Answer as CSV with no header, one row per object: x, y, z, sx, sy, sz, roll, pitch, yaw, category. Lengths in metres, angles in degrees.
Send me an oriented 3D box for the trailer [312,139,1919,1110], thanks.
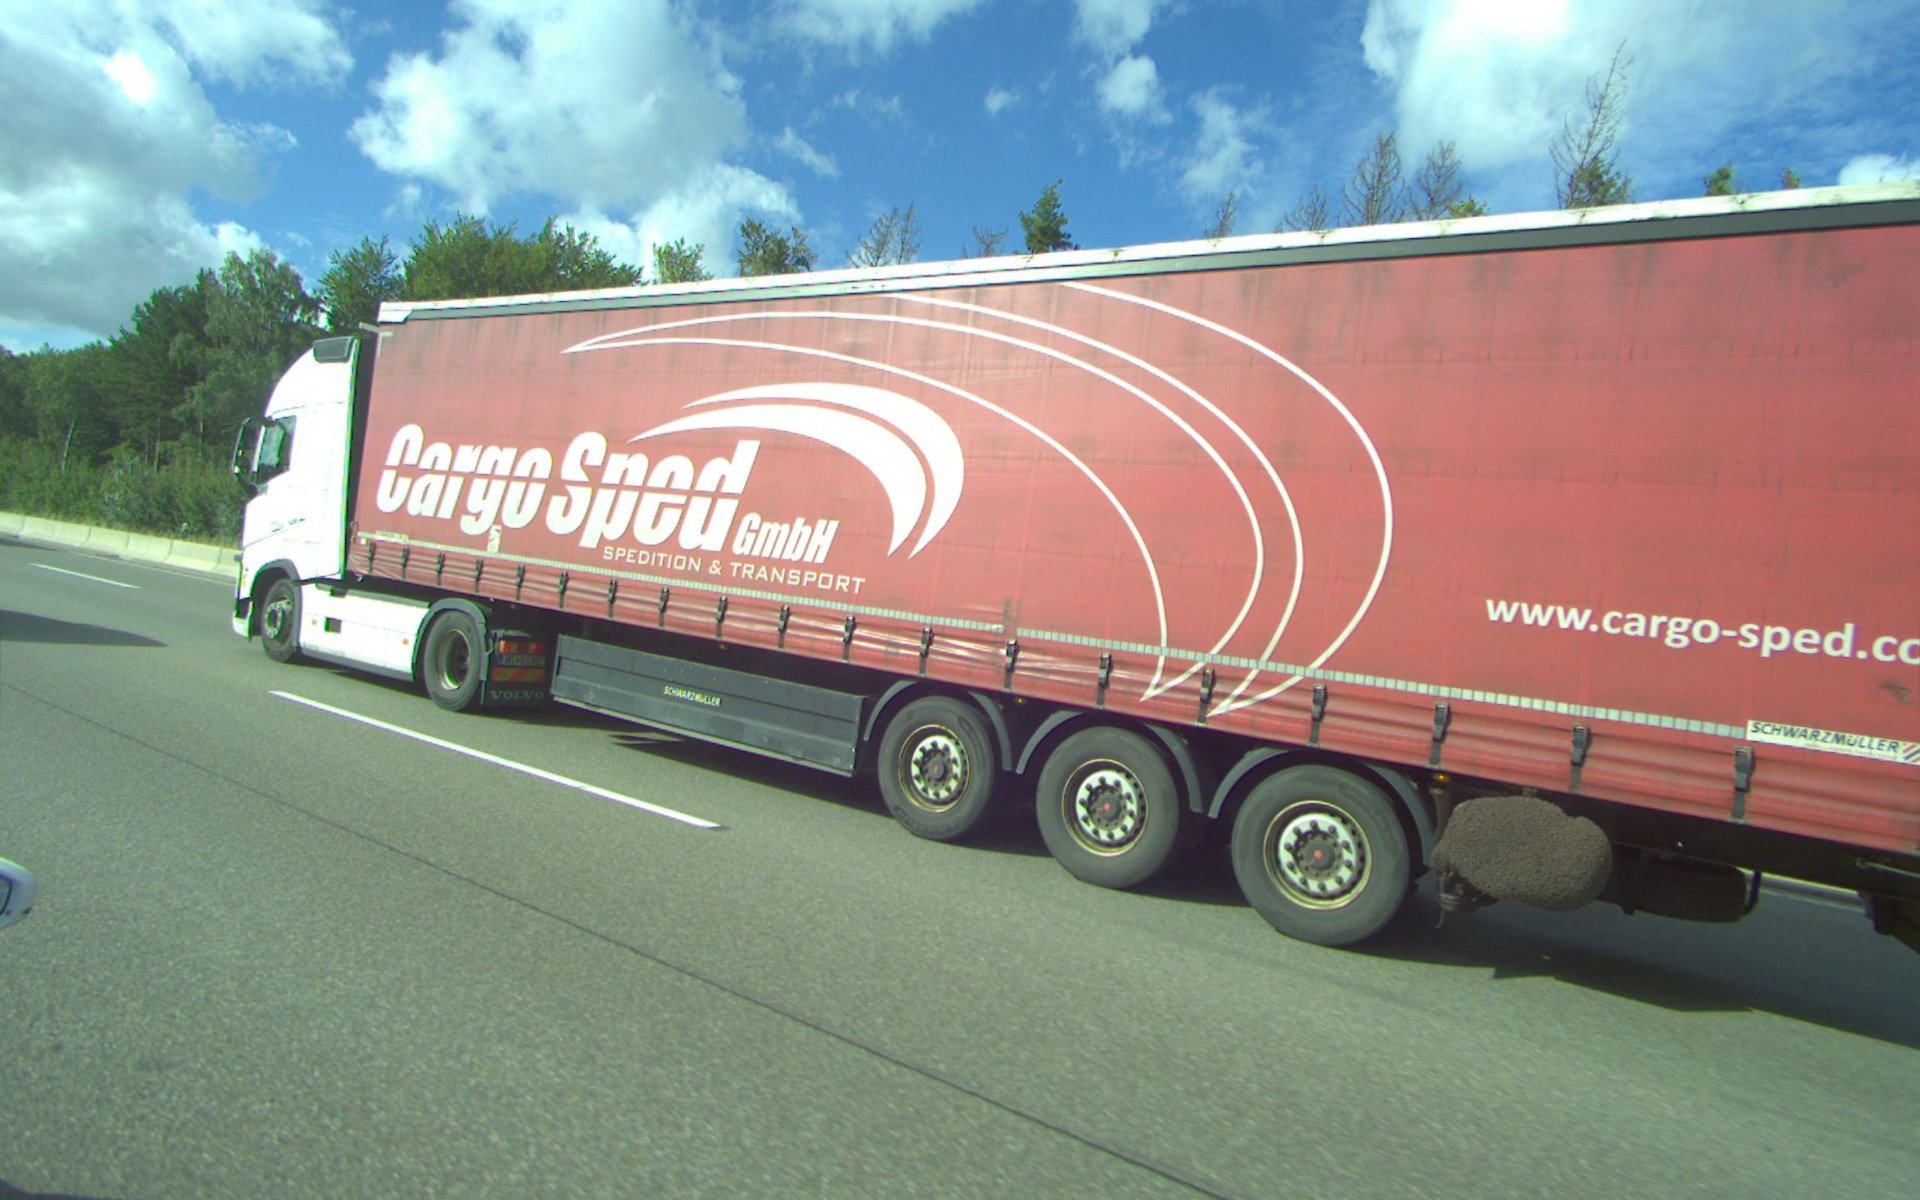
-0.530,-0.454,8.765,13.486,4.094,2.778,7,-1,32,trailer

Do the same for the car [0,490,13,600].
-12.703,-0.712,11.416,4.385,1.548,1.775,7,-1,33,car

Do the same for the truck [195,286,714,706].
-6.319,-1.170,12.413,5.677,4.094,2.778,7,-1,32,truck
